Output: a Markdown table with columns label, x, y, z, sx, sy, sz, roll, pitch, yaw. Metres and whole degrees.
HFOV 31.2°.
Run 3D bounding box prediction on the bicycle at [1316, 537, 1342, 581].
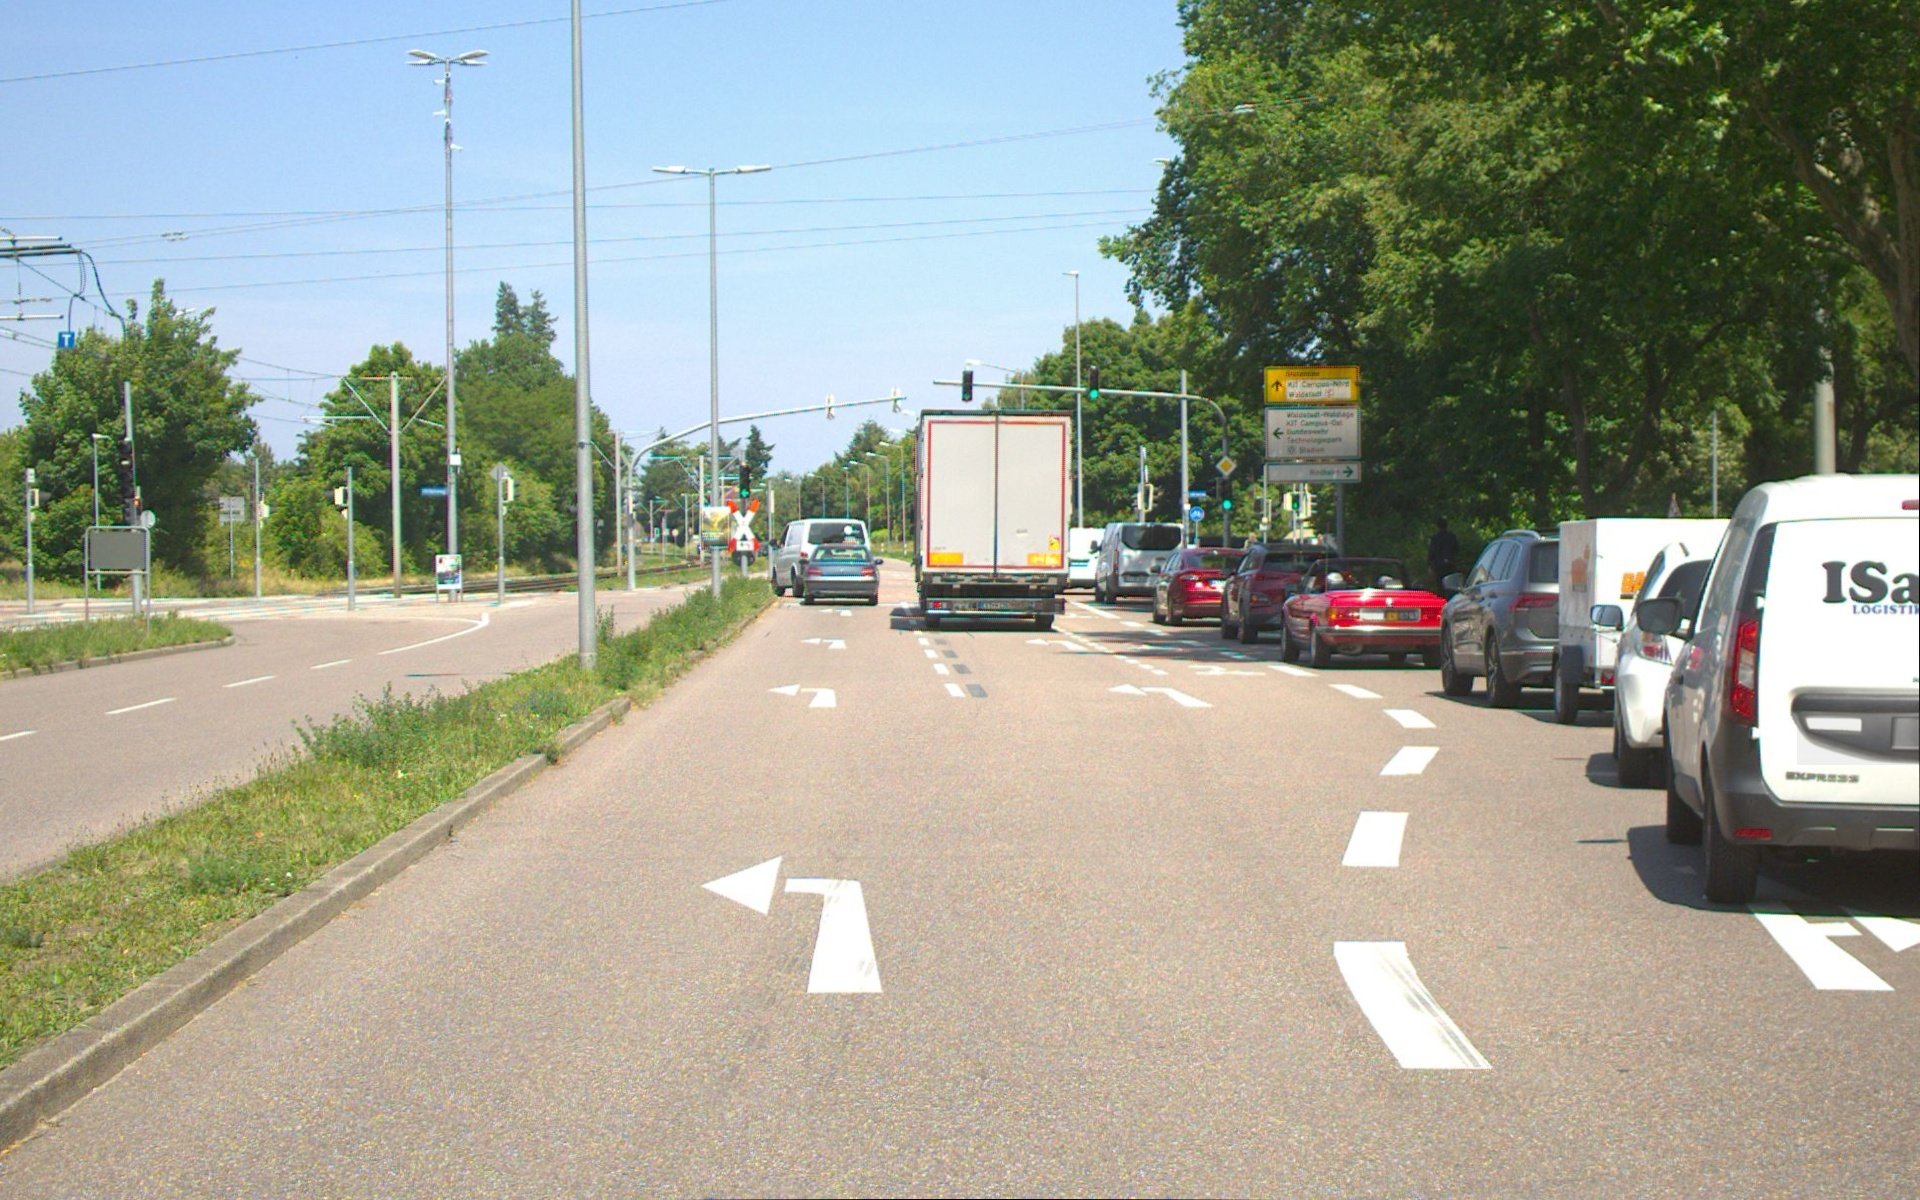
| label | x | y | z | sx | sy | sz | roll | pitch | yaw |
| --- | --- | --- | --- | --- | --- | --- | --- | --- | --- |
| bicycle | 11.356 | -1.257 | 105.711 | 0.644 | 1.300 | 1.625 | -3 | 1 | 9 |

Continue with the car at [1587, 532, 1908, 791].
| label | x | y | z | sx | sy | sz | roll | pitch | yaw |
| --- | --- | --- | --- | --- | --- | --- | --- | --- | --- |
| car | 4.970 | 0.324 | 22.119 | 1.721 | 1.483 | 3.877 | 1 | 1 | 9 |

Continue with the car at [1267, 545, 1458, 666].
| label | x | y | z | sx | sy | sz | roll | pitch | yaw |
| --- | --- | --- | --- | --- | --- | --- | --- | --- | --- |
| car | 4.967 | 0.030 | 42.943 | 1.654 | 1.392 | 4.268 | 1 | 1 | -3 |

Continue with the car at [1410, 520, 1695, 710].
| label | x | y | z | sx | sy | sz | roll | pitch | yaw |
| --- | --- | --- | --- | --- | --- | --- | --- | --- | --- |
| car | 5.500 | 0.082 | 32.455 | 1.699 | 1.648 | 4.399 | 1 | 1 | -3 |

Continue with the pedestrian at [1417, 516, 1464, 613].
| label | x | y | z | sx | sy | sz | roll | pitch | yaw |
| --- | --- | --- | --- | --- | --- | --- | --- | --- | --- |
| pedestrian | 9.160 | -0.679 | 65.554 | 0.753 | 1.809 | 0.693 | -1 | 1 | -3 |

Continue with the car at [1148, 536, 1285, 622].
| label | x | y | z | sx | sy | sz | roll | pitch | yaw |
| --- | --- | --- | --- | --- | --- | --- | --- | --- | --- |
| car | 4.798 | -0.421 | 64.850 | 1.993 | 1.498 | 4.503 | 0 | 2 | -3 |

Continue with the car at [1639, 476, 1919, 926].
| label | x | y | z | sx | sy | sz | roll | pitch | yaw |
| --- | --- | --- | --- | --- | --- | --- | --- | --- | --- |
| car | 4.079 | 0.358 | 15.577 | 1.710 | 1.741 | 4.426 | 1 | 1 | 8 |

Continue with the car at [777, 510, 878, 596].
| label | x | y | z | sx | sy | sz | roll | pitch | yaw |
| --- | --- | --- | --- | --- | --- | --- | --- | --- | --- |
| car | -3.397 | -1.221 | 87.139 | 1.993 | 2.103 | 4.749 | 0 | 2 | -9 |

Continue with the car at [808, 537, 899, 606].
| label | x | y | z | sx | sy | sz | roll | pitch | yaw |
| --- | --- | --- | --- | --- | --- | --- | --- | --- | --- |
| car | -2.430 | -0.629 | 79.233 | 1.892 | 1.367 | 4.430 | 3 | -1 | 0 |

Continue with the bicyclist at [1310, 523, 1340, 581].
| label | x | y | z | sx | sy | sz | roll | pitch | yaw |
| --- | --- | --- | --- | --- | --- | --- | --- | --- | --- |
| bicyclist | 11.225 | -1.478 | 105.750 | 0.802 | 1.721 | 0.679 | -3 | 0 | 10 |

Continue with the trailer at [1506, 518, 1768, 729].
| label | x | y | z | sx | sy | sz | roll | pitch | yaw |
| --- | --- | --- | --- | --- | --- | --- | --- | --- | --- |
| trailer | 5.626 | 0.155 | 28.844 | 1.468 | 1.663 | 2.856 | 1 | 1 | -3 |

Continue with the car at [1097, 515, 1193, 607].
| label | x | y | z | sx | sy | sz | roll | pitch | yaw |
| --- | --- | --- | --- | --- | --- | --- | --- | --- | --- |
| car | 4.419 | -0.961 | 82.575 | 1.890 | 2.114 | 3.887 | 1 | 1 | -3 |

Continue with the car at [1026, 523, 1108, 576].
| label | x | y | z | sx | sy | sz | roll | pitch | yaw |
| --- | --- | --- | --- | --- | --- | --- | --- | --- | --- |
| car | 3.007 | -1.448 | 97.566 | 1.993 | 1.432 | 4.252 | 0 | 2 | -3 |

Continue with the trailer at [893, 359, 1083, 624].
| label | x | y | z | sx | sy | sz | roll | pitch | yaw |
| --- | --- | --- | --- | --- | --- | --- | --- | --- | --- |
| trailer | 0.382 | -1.909 | 62.103 | 2.827 | 4.406 | 8.751 | 1 | 1 | -3 |

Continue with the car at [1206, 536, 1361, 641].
| label | x | y | z | sx | sy | sz | roll | pitch | yaw |
| --- | --- | --- | --- | --- | --- | --- | --- | --- | --- |
| car | 5.030 | -0.215 | 53.983 | 1.858 | 1.544 | 3.887 | 1 | 1 | -3 |

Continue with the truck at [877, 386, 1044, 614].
| label | x | y | z | sx | sy | sz | roll | pitch | yaw |
| --- | --- | --- | --- | --- | --- | --- | --- | --- | --- |
| truck | -0.095 | -2.072 | 70.646 | 2.827 | 4.329 | 8.286 | 1 | 2 | -3 |
